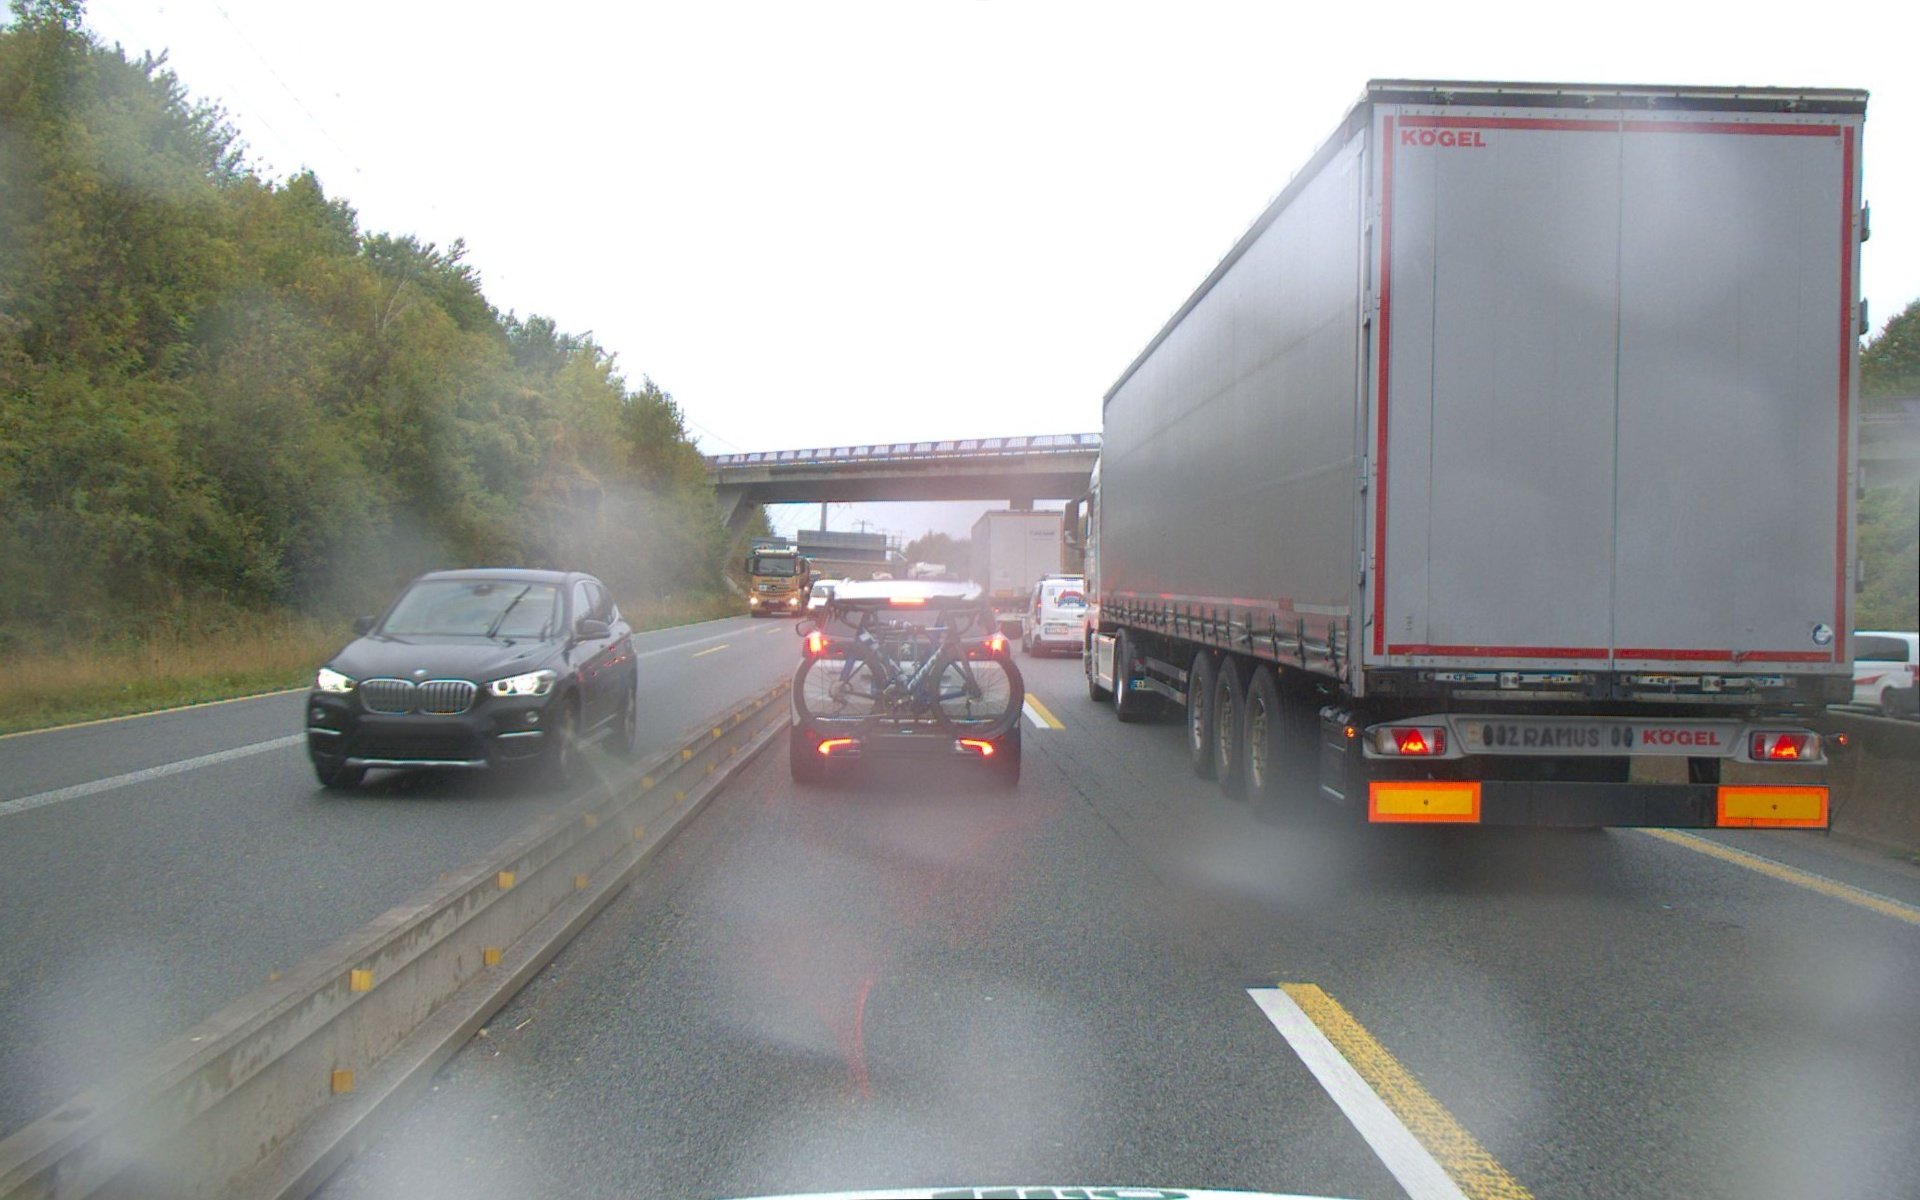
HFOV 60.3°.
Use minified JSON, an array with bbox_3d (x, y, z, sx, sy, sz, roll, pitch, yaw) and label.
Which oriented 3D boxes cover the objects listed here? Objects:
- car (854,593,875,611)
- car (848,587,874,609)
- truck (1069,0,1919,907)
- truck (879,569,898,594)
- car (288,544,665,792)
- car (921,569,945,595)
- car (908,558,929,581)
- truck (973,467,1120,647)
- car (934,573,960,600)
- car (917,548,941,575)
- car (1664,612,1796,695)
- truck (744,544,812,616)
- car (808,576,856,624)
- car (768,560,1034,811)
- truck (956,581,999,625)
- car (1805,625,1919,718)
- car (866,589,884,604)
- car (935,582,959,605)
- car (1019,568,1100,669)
[{"bbox_3d":[-8.723,0.158,151.447,1.773,1.586,3.988,1,0,-2],"label":"car"},{"bbox_3d":[-6.460,-0.123,108.257,1.652,1.434,3.928,1,0,-3],"label":"car"},{"bbox_3d":[3.774,-1.476,17.837,3.898,5.772,20.375,1,0,0],"label":"truck"},{"bbox_3d":[-10.476,-2.669,243.518,2.484,3.411,12.046,1,0,-2],"label":"truck"},{"bbox_3d":[-3.644,0.461,13.270,1.773,1.661,4.118,1,0,0],"label":"car"},{"bbox_3d":[-2.275,-1.496,138.122,1.953,2.049,3.999,1,0,-1],"label":"car"},{"bbox_3d":[-4.137,-2.990,164.631,1.953,2.164,4.526,1,0,-1],"label":"car"},{"bbox_3d":[2.911,-1.396,63.974,4.646,5.772,20.375,1,0,0],"label":"truck"},{"bbox_3d":[-1.011,-1.012,126.257,1.953,2.049,3.999,1,0,-1],"label":"car"},{"bbox_3d":[-2.813,-3.466,150.891,2.194,2.347,4.571,1,0,-1],"label":"car"},{"bbox_3d":[20.730,1.397,44.691,1.693,2.094,4.124,1,0,1],"label":"car"},{"bbox_3d":[-9.299,-0.975,85.692,2.484,3.411,12.046,1,0,-2],"label":"truck"},{"bbox_3d":[-5.217,0.004,67.717,1.774,1.856,4.633,1,0,-3],"label":"car"},{"bbox_3d":[-0.386,0.578,13.477,1.773,1.666,4.635,1,0,0],"label":"car"},{"bbox_3d":[0.798,0.145,79.852,1.953,2.049,3.999,1,0,-1],"label":"truck"},{"bbox_3d":[20.848,1.527,36.674,1.902,1.861,4.727,1,0,1],"label":"car"},{"bbox_3d":[-8.243,-0.340,160.710,1.652,1.434,3.928,1,0,-3],"label":"car"},{"bbox_3d":[-0.877,-0.437,112.658,1.605,1.524,3.665,1,0,-1],"label":"car"},{"bbox_3d":[2.289,0.411,38.922,1.635,2.218,4.534,1,0,0],"label":"car"}]
